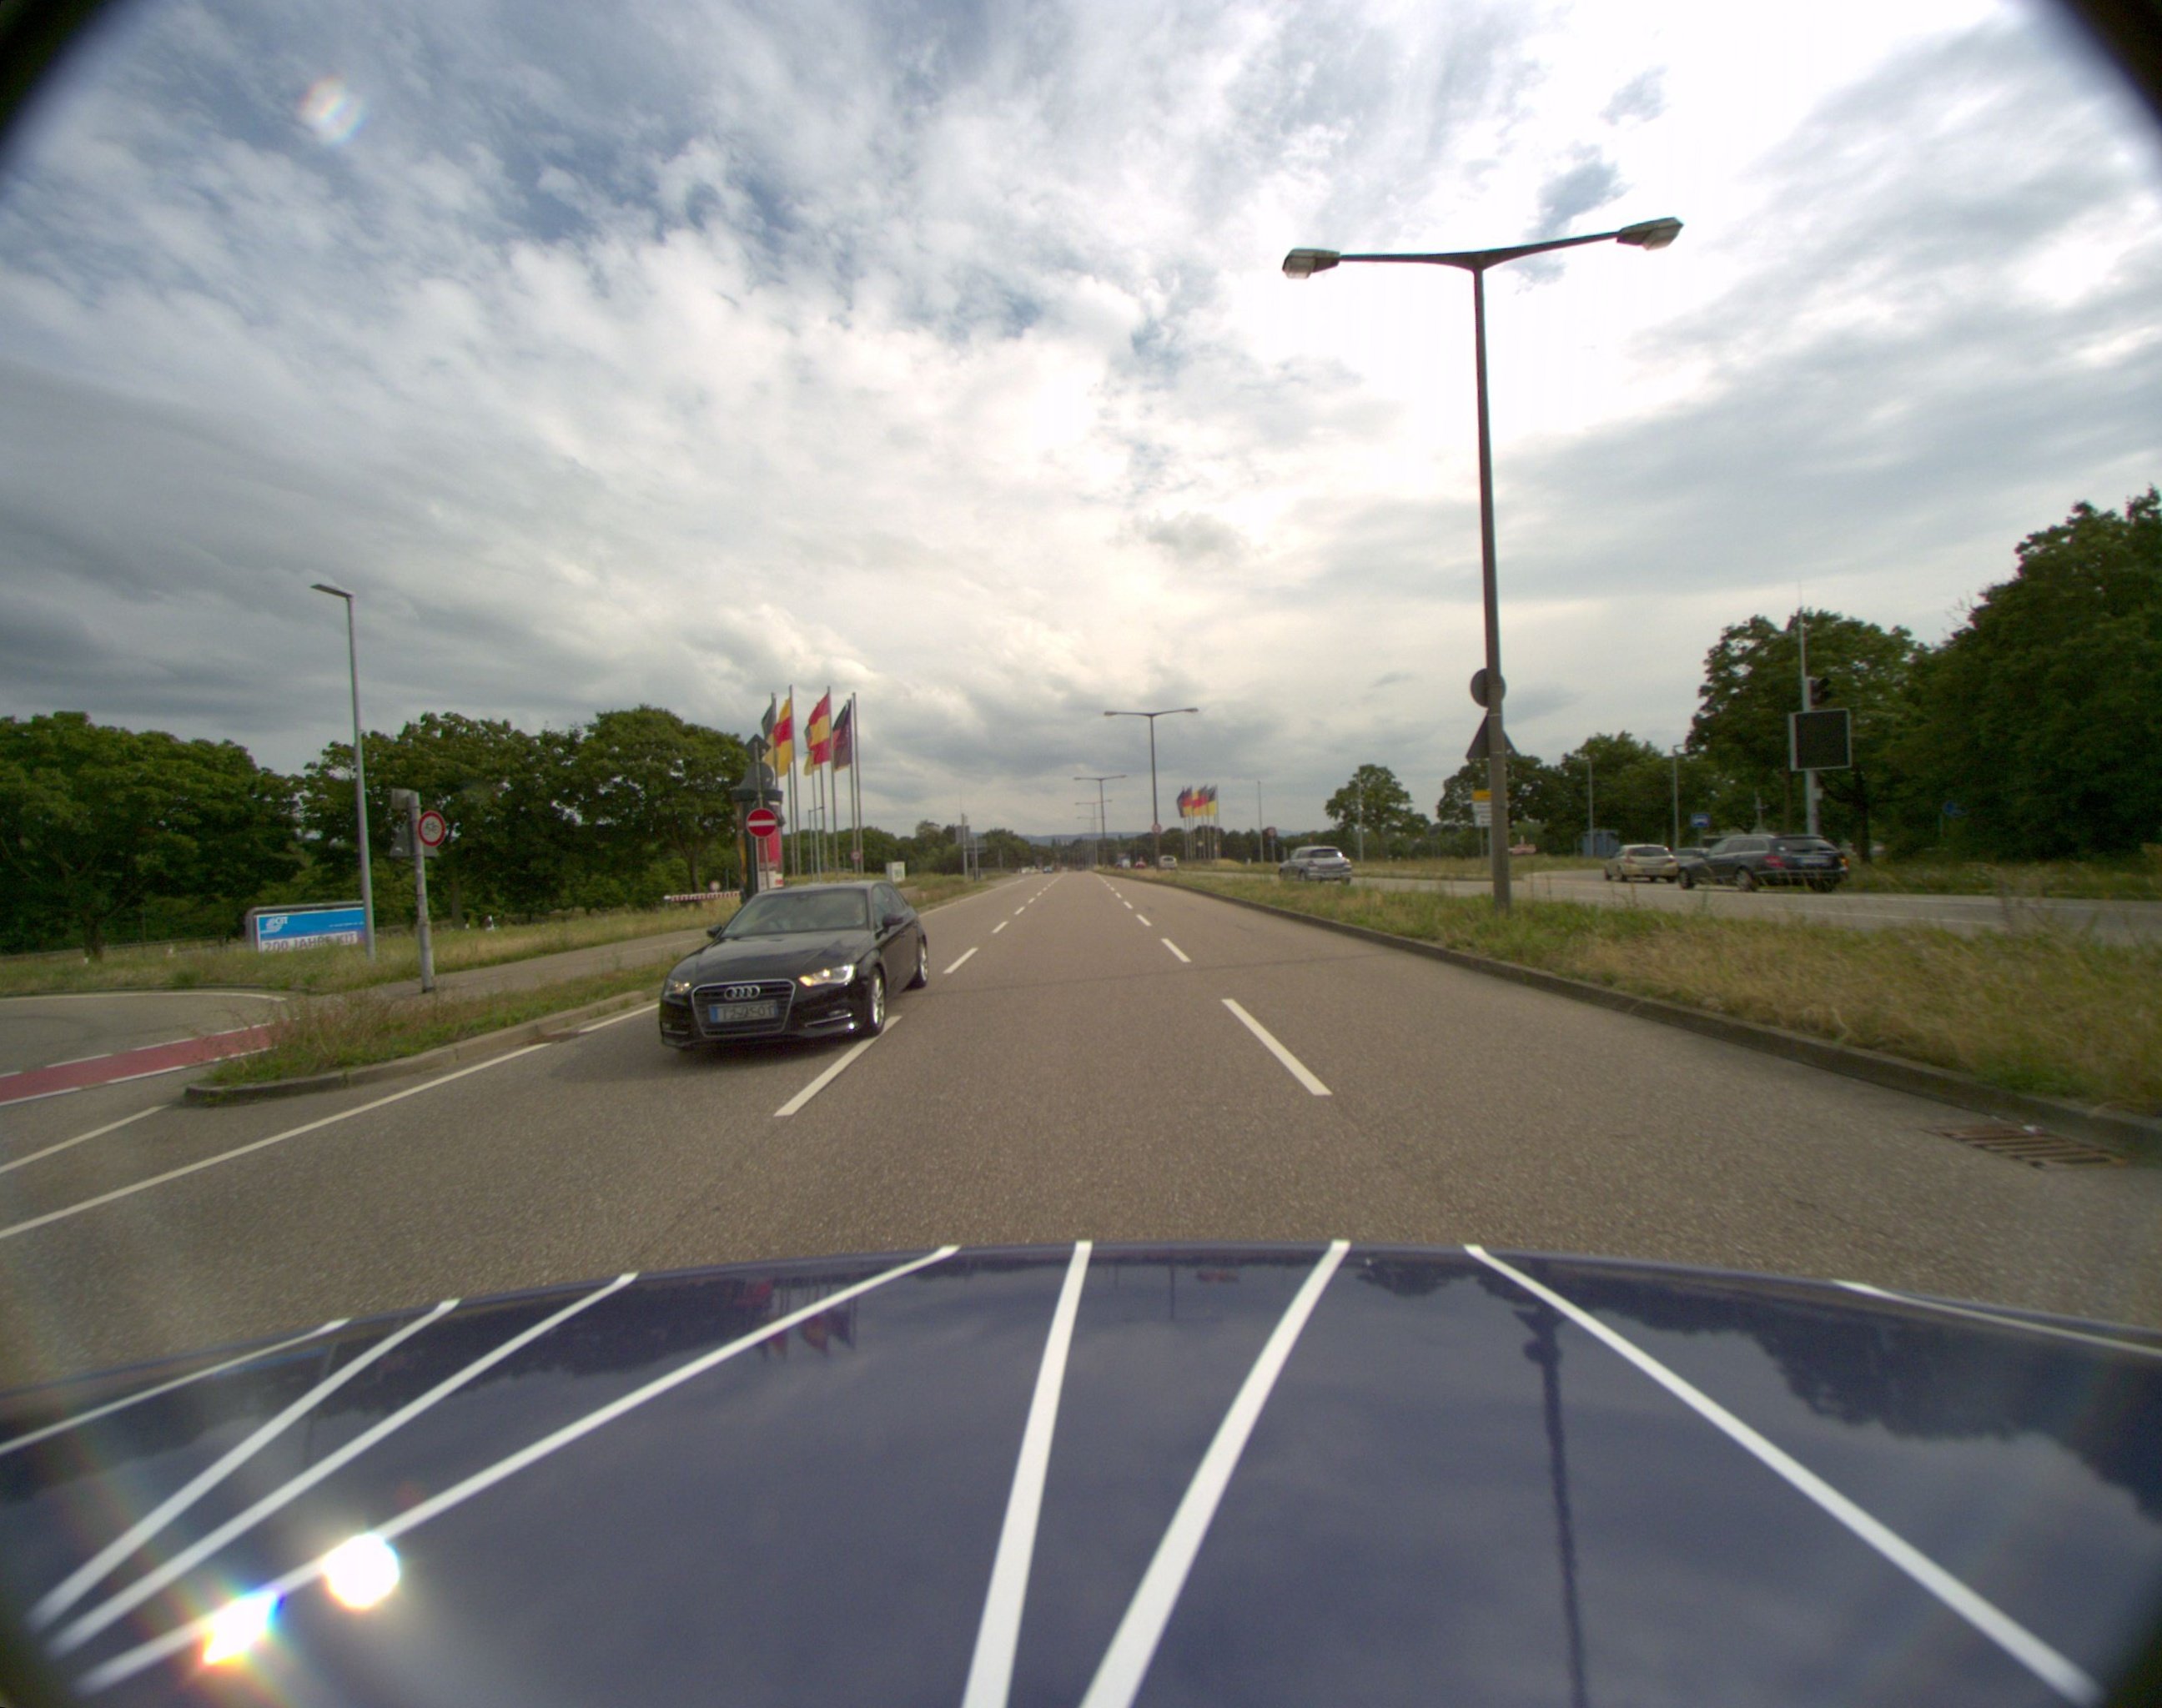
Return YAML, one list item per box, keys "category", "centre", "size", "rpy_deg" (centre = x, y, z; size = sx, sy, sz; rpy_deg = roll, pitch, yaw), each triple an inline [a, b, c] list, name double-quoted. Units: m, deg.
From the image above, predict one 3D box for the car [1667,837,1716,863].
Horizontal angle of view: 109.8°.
- category: "car"
  centre: [36.449, -0.231, 45.312]
  size: [1.995, 1.276, 4.007]
  rpy_deg: [-4, 0, 42]

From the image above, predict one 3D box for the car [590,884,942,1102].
- category: "car"
  centre: [-2.795, 1.135, 8.080]
  size: [1.853, 1.355, 4.729]
  rpy_deg: [-5, -1, -3]

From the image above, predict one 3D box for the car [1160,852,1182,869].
- category: "car"
  centre: [9.644, 0.669, 81.615]
  size: [1.776, 1.598, 3.875]
  rpy_deg: [-2, 1, -2]

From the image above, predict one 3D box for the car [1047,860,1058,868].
- category: "car"
  centre: [-6.154, 2.075, 164.404]
  size: [1.998, 1.518, 3.999]
  rpy_deg: [-5, 1, 0]

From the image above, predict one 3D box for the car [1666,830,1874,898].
- category: "car"
  centre: [17.663, 0.269, 19.840]
  size: [1.890, 1.518, 4.673]
  rpy_deg: [1, -1, 12]

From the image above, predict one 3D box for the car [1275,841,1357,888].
- category: "car"
  centre: [8.883, 0.402, 29.043]
  size: [1.776, 1.597, 3.877]
  rpy_deg: [-2, -1, -2]

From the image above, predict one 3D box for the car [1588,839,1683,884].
- category: "car"
  centre: [21.312, 0.266, 29.377]
  size: [1.820, 1.598, 3.902]
  rpy_deg: [1, 1, 19]
